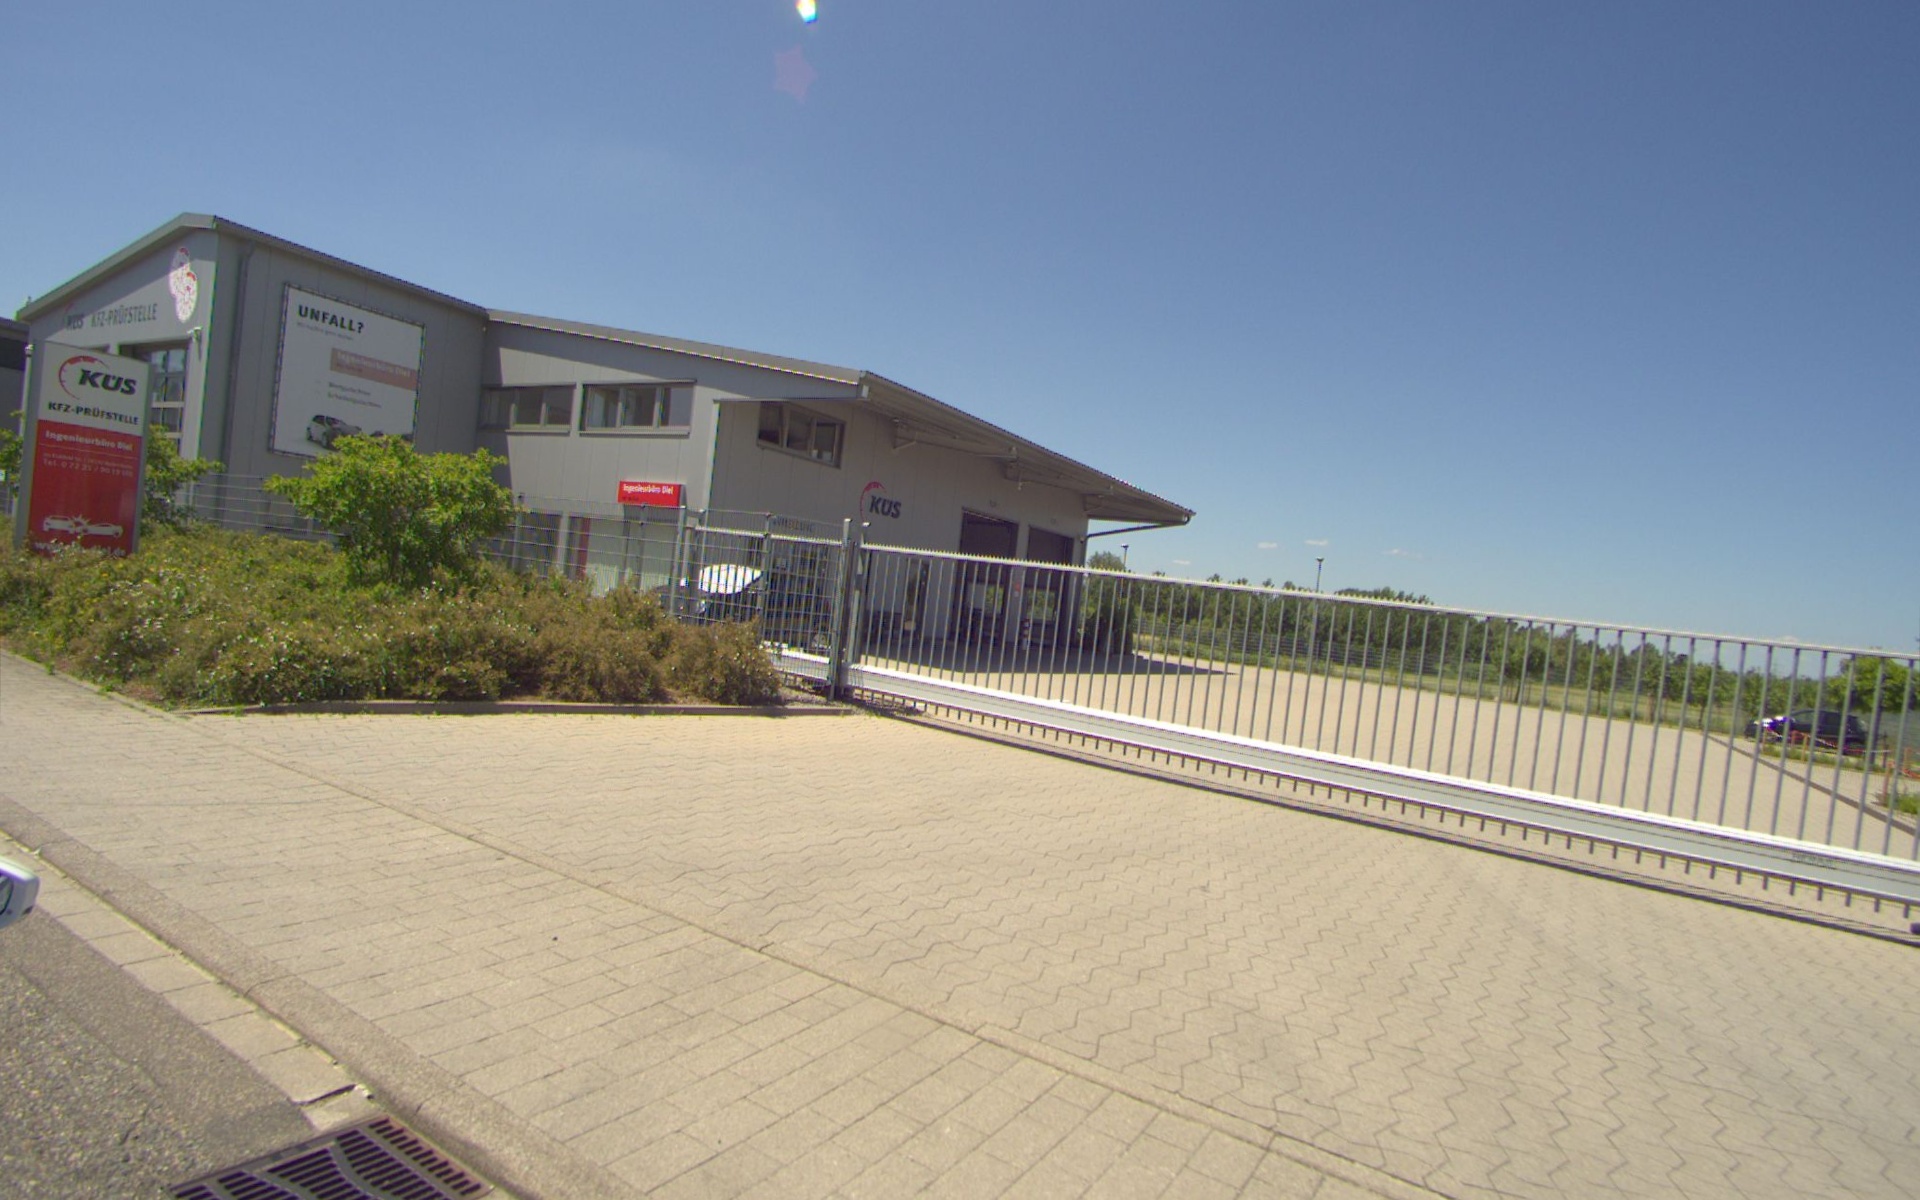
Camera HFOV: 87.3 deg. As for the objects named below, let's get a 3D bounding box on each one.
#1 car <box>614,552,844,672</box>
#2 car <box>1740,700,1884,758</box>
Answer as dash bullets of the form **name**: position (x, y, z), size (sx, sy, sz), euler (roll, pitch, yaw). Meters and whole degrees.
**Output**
- **car**: position (-3.826, 0.268, 17.205), size (1.675, 1.698, 3.615), euler (7, 0, 31)
- **car**: position (30.151, 4.556, 35.741), size (3.545, 1.473, 1.765), euler (6, -2, 32)
